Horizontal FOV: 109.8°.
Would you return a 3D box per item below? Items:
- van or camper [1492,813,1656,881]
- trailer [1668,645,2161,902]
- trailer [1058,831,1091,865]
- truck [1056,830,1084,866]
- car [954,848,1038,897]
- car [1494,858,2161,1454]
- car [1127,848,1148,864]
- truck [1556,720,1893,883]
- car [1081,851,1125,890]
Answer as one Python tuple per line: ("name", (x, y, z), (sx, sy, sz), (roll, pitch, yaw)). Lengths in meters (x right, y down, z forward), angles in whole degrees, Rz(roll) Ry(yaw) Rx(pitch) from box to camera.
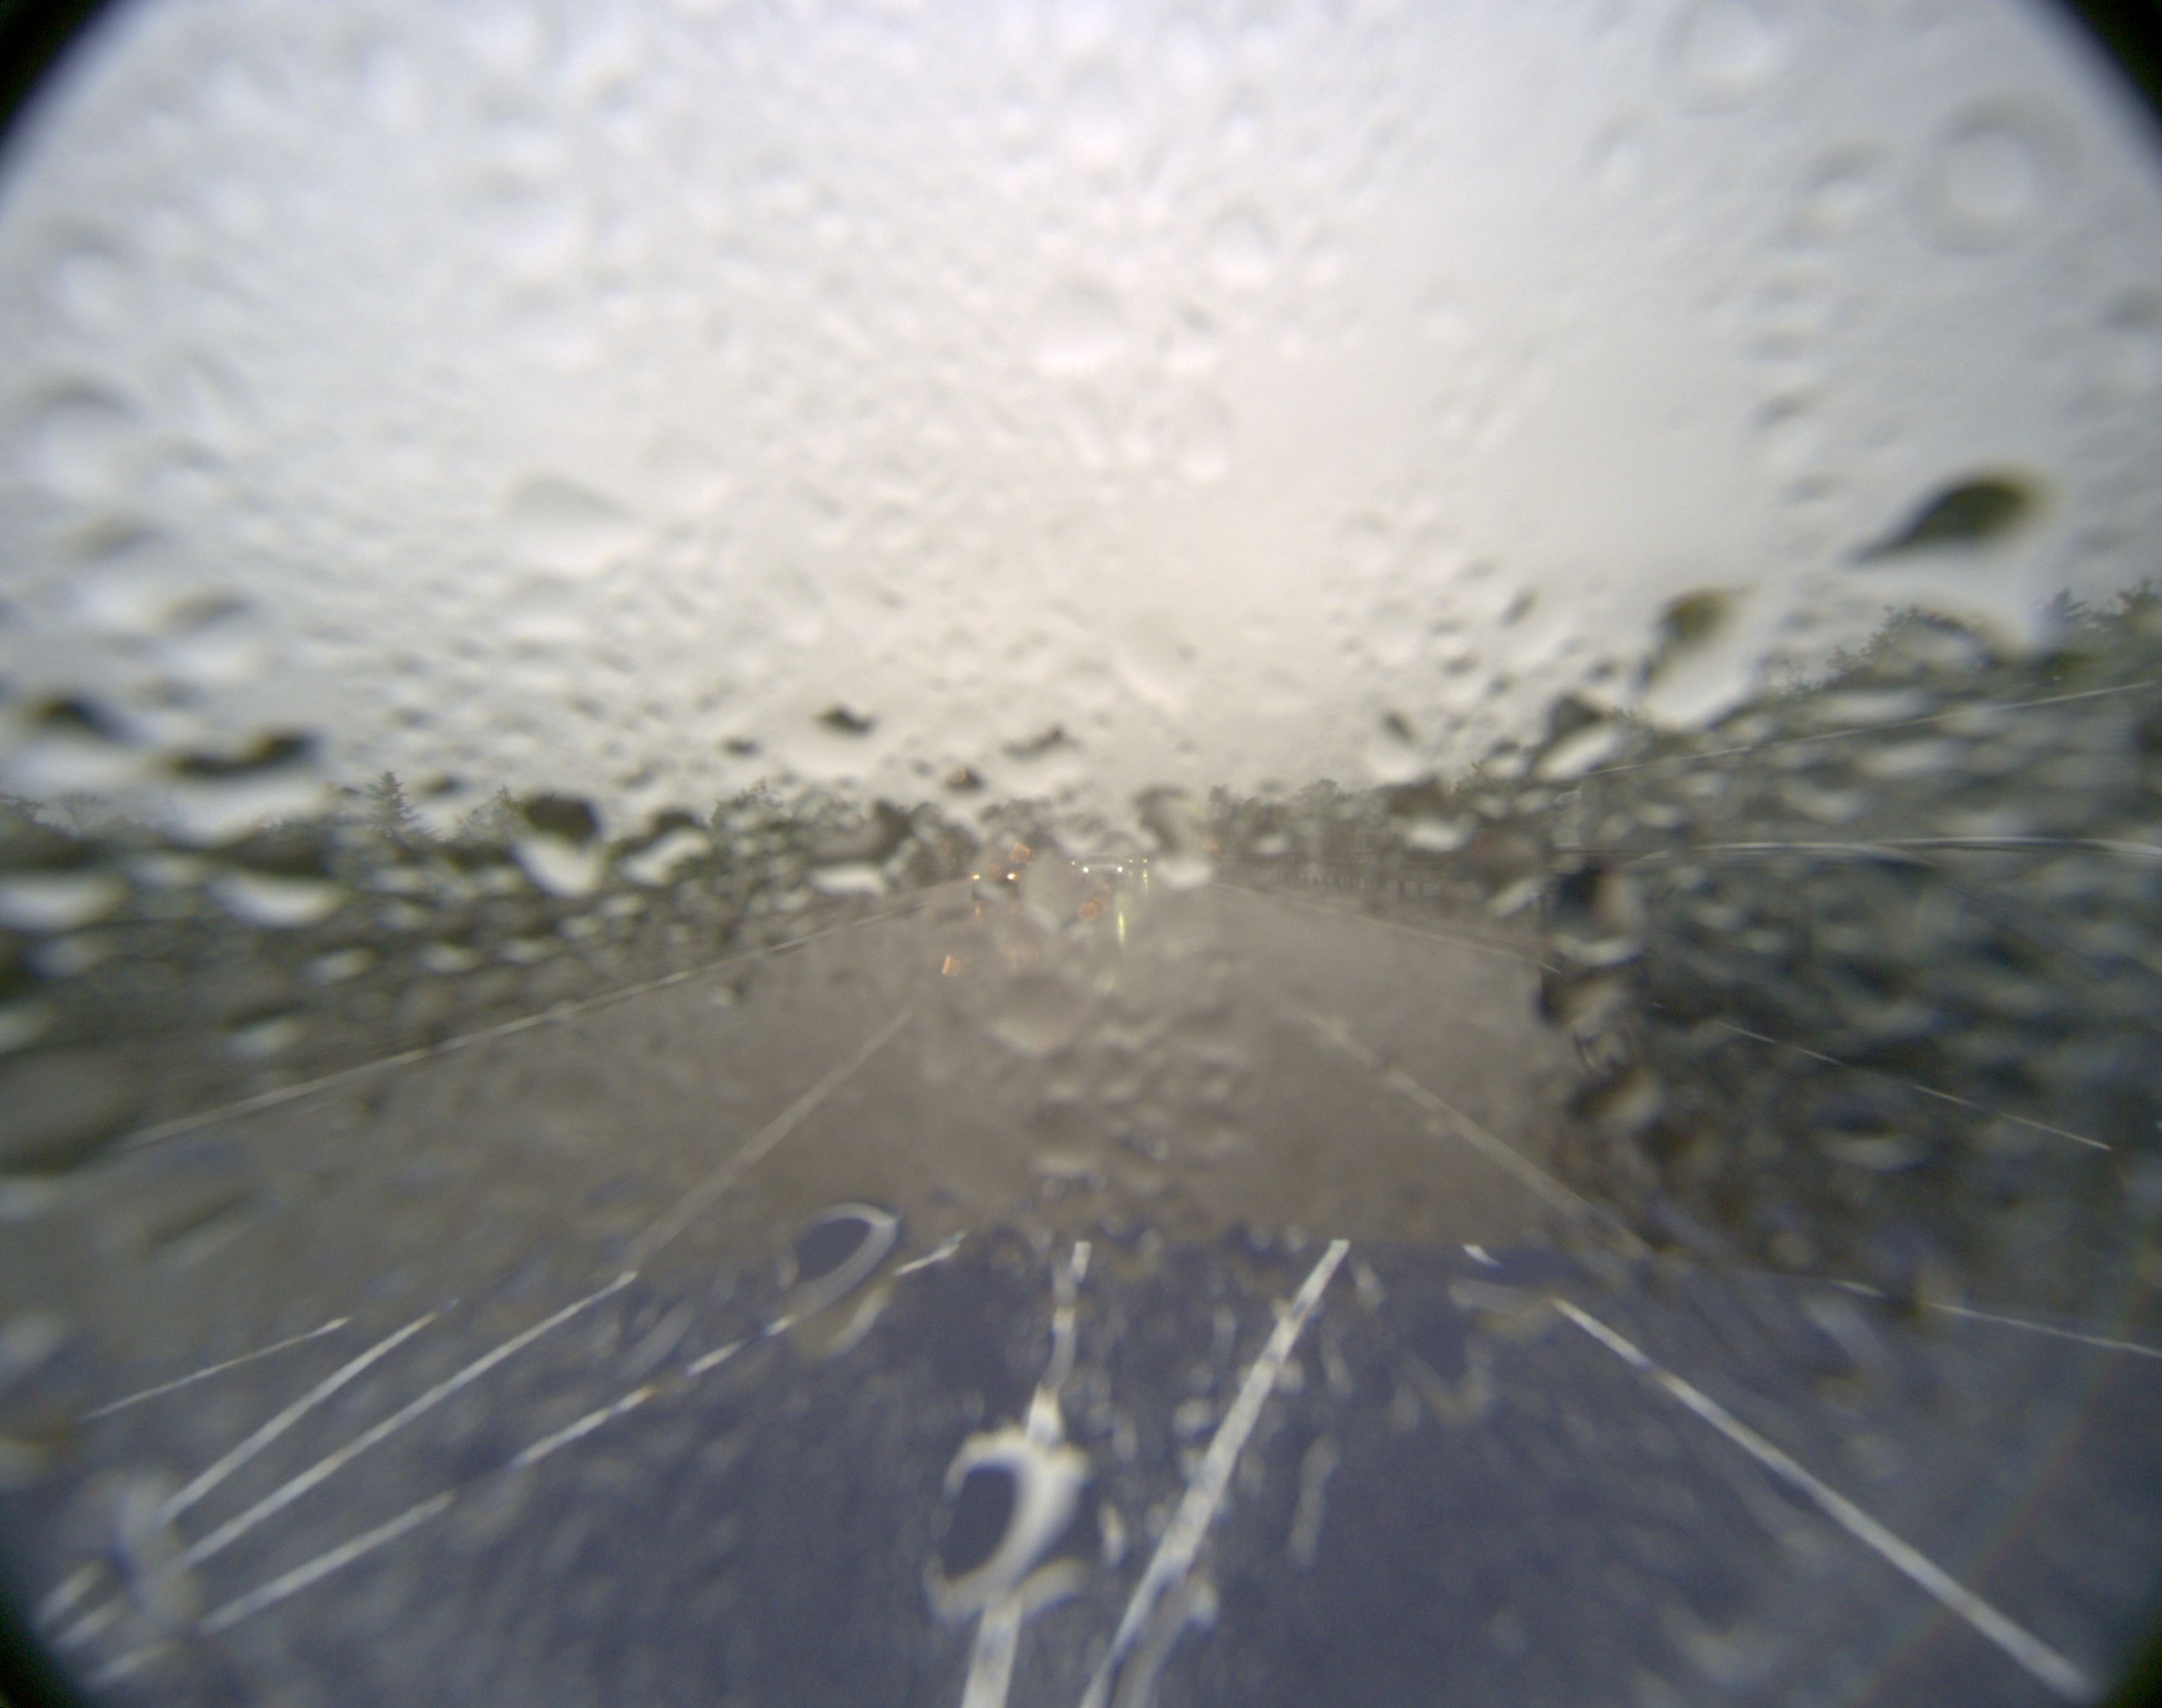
("van or camper", (16.608, -0.231, 26.049), (1.998, 2.002, 5.671), (-2, 0, 1))
("trailer", (21.675, -1.544, 19.372), (3.879, 4.668, 12.242), (-2, 0, 0))
("trailer", (-0.669, -0.784, 96.663), (2.750, 3.940, 14.133), (-2, 0, 5))
("truck", (-1.223, -0.665, 89.406), (2.755, 4.054, 6.484), (-1, 0, 4))
("car", (-3.311, 0.674, 30.889), (2.463, 1.736, 5.719), (-2, 0, 3))
("car", (3.865, 0.808, 2.653), (2.059, 1.477, 5.158), (-2, 0, 1))
("car", (5.820, 0.164, 78.417), (1.900, 1.533, 4.090), (-2, 0, 2))
("truck", (21.761, -1.538, 26.936), (3.845, 4.612, 9.492), (-2, 0, 0))
("car", (1.034, 0.670, 33.740), (1.751, 1.545, 4.091), (-2, 0, 4))
